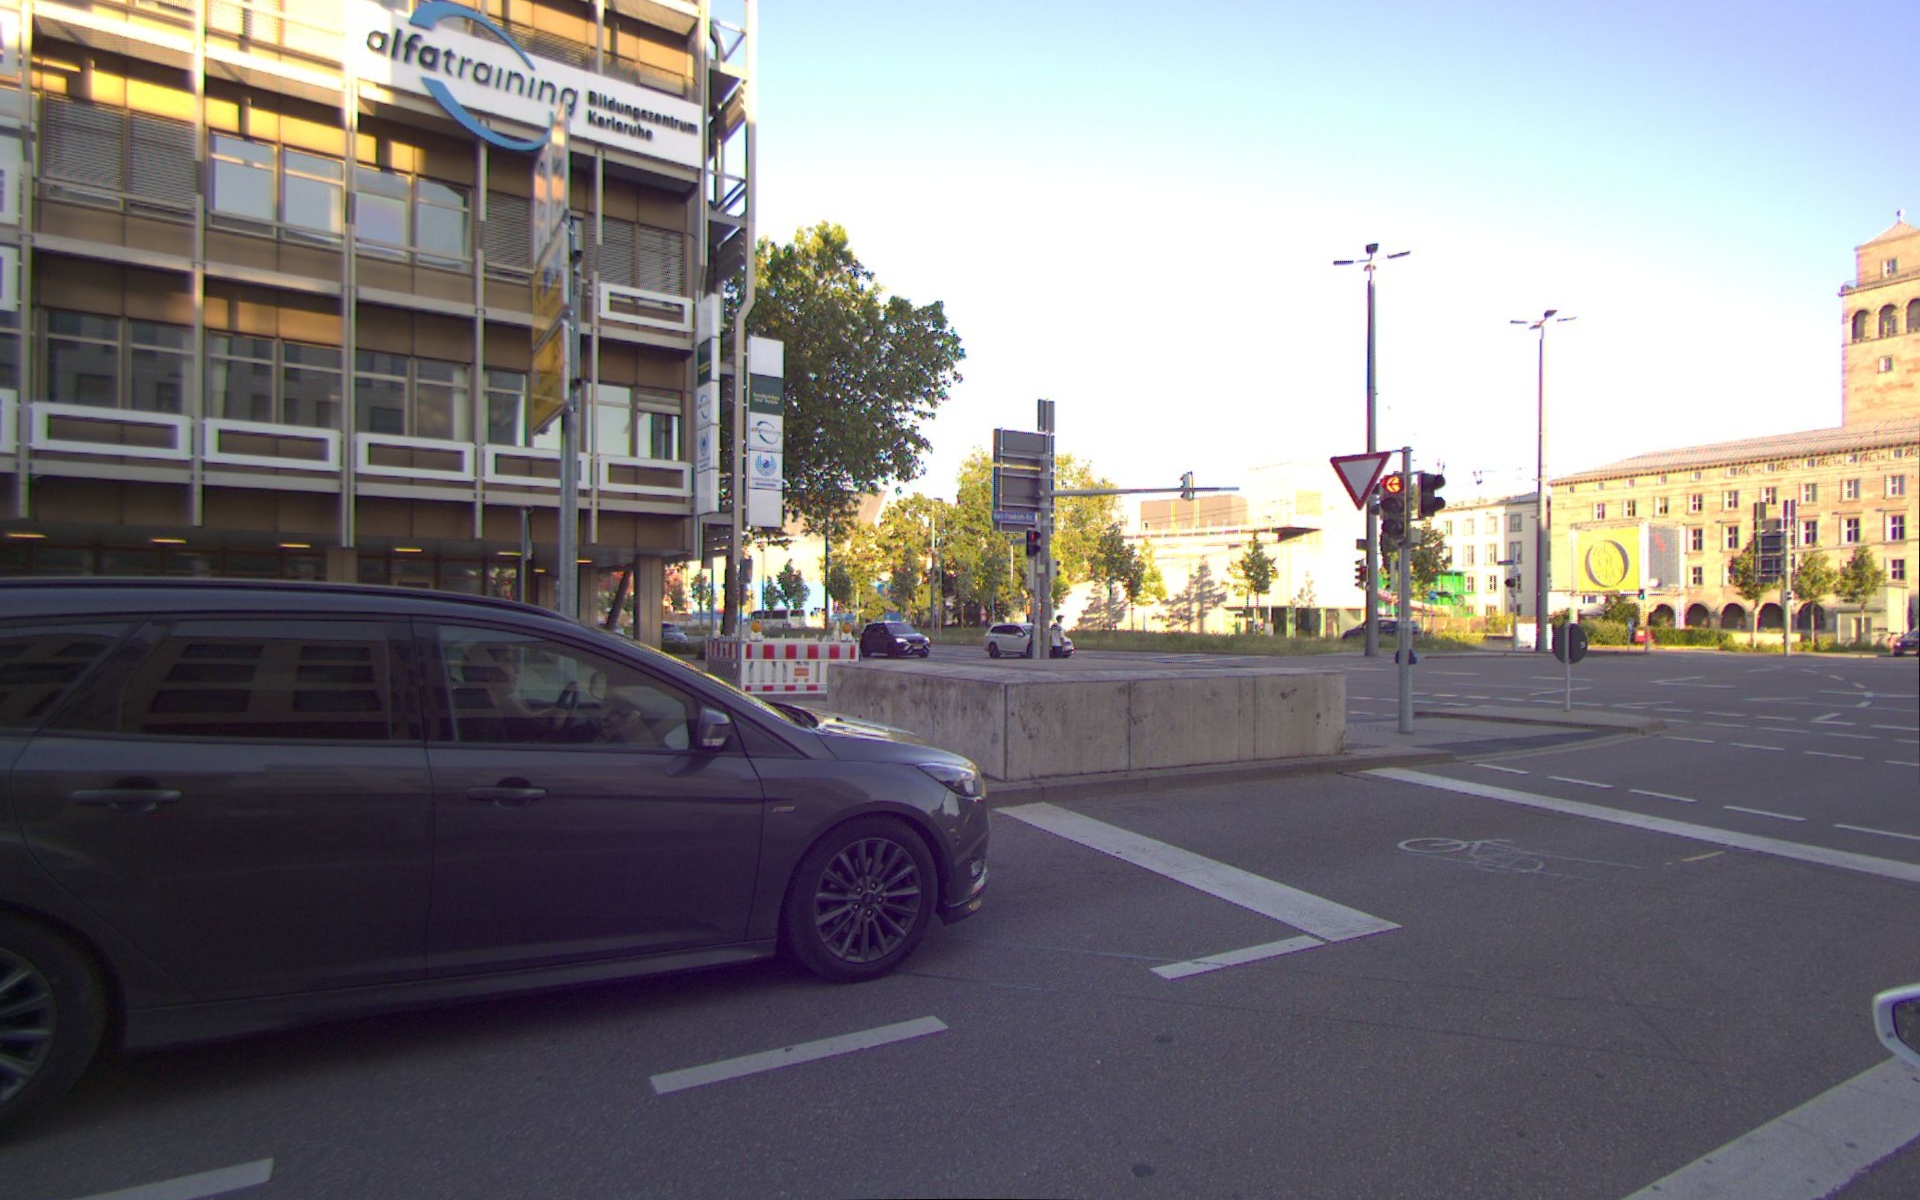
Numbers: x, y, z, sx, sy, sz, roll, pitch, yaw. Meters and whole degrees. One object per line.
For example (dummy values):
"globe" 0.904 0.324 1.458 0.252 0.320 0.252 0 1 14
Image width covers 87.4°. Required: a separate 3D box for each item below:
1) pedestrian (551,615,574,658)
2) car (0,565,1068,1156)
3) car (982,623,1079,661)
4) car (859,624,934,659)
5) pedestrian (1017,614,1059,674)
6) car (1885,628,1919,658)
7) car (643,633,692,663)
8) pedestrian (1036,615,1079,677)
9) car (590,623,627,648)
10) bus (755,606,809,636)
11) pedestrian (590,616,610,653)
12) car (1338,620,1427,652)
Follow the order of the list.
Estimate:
"pedestrian" -17.542 1.600 44.323 0.749 1.830 0.715 2 0 -35
"car" -1.841 0.655 3.876 4.330 1.482 1.748 1 1 -31
"car" 2.868 1.702 41.918 1.829 1.476 4.555 0 -1 -30
"car" -2.887 1.805 44.892 1.829 1.476 3.921 0 -1 -30
"pedestrian" 2.285 1.284 29.603 0.949 1.744 0.816 1 -1 -34
"car" 51.326 2.285 53.628 4.111 1.485 1.813 0 -1 -32
"car" -17.202 2.766 59.026 1.722 1.605 4.554 0 -1 -30
"pedestrian" 2.796 1.296 28.865 0.949 1.744 0.816 1 -1 -34
"car" -24.466 2.443 69.883 1.722 1.605 3.764 0 -1 -31
"bus" -23.163 2.698 130.133 2.959 3.818 10.341 1 -1 -34
"pedestrian" -16.037 1.532 44.735 0.660 1.606 0.715 2 0 -34
"car" 22.518 1.908 53.693 1.729 1.626 4.088 1 -1 -39
